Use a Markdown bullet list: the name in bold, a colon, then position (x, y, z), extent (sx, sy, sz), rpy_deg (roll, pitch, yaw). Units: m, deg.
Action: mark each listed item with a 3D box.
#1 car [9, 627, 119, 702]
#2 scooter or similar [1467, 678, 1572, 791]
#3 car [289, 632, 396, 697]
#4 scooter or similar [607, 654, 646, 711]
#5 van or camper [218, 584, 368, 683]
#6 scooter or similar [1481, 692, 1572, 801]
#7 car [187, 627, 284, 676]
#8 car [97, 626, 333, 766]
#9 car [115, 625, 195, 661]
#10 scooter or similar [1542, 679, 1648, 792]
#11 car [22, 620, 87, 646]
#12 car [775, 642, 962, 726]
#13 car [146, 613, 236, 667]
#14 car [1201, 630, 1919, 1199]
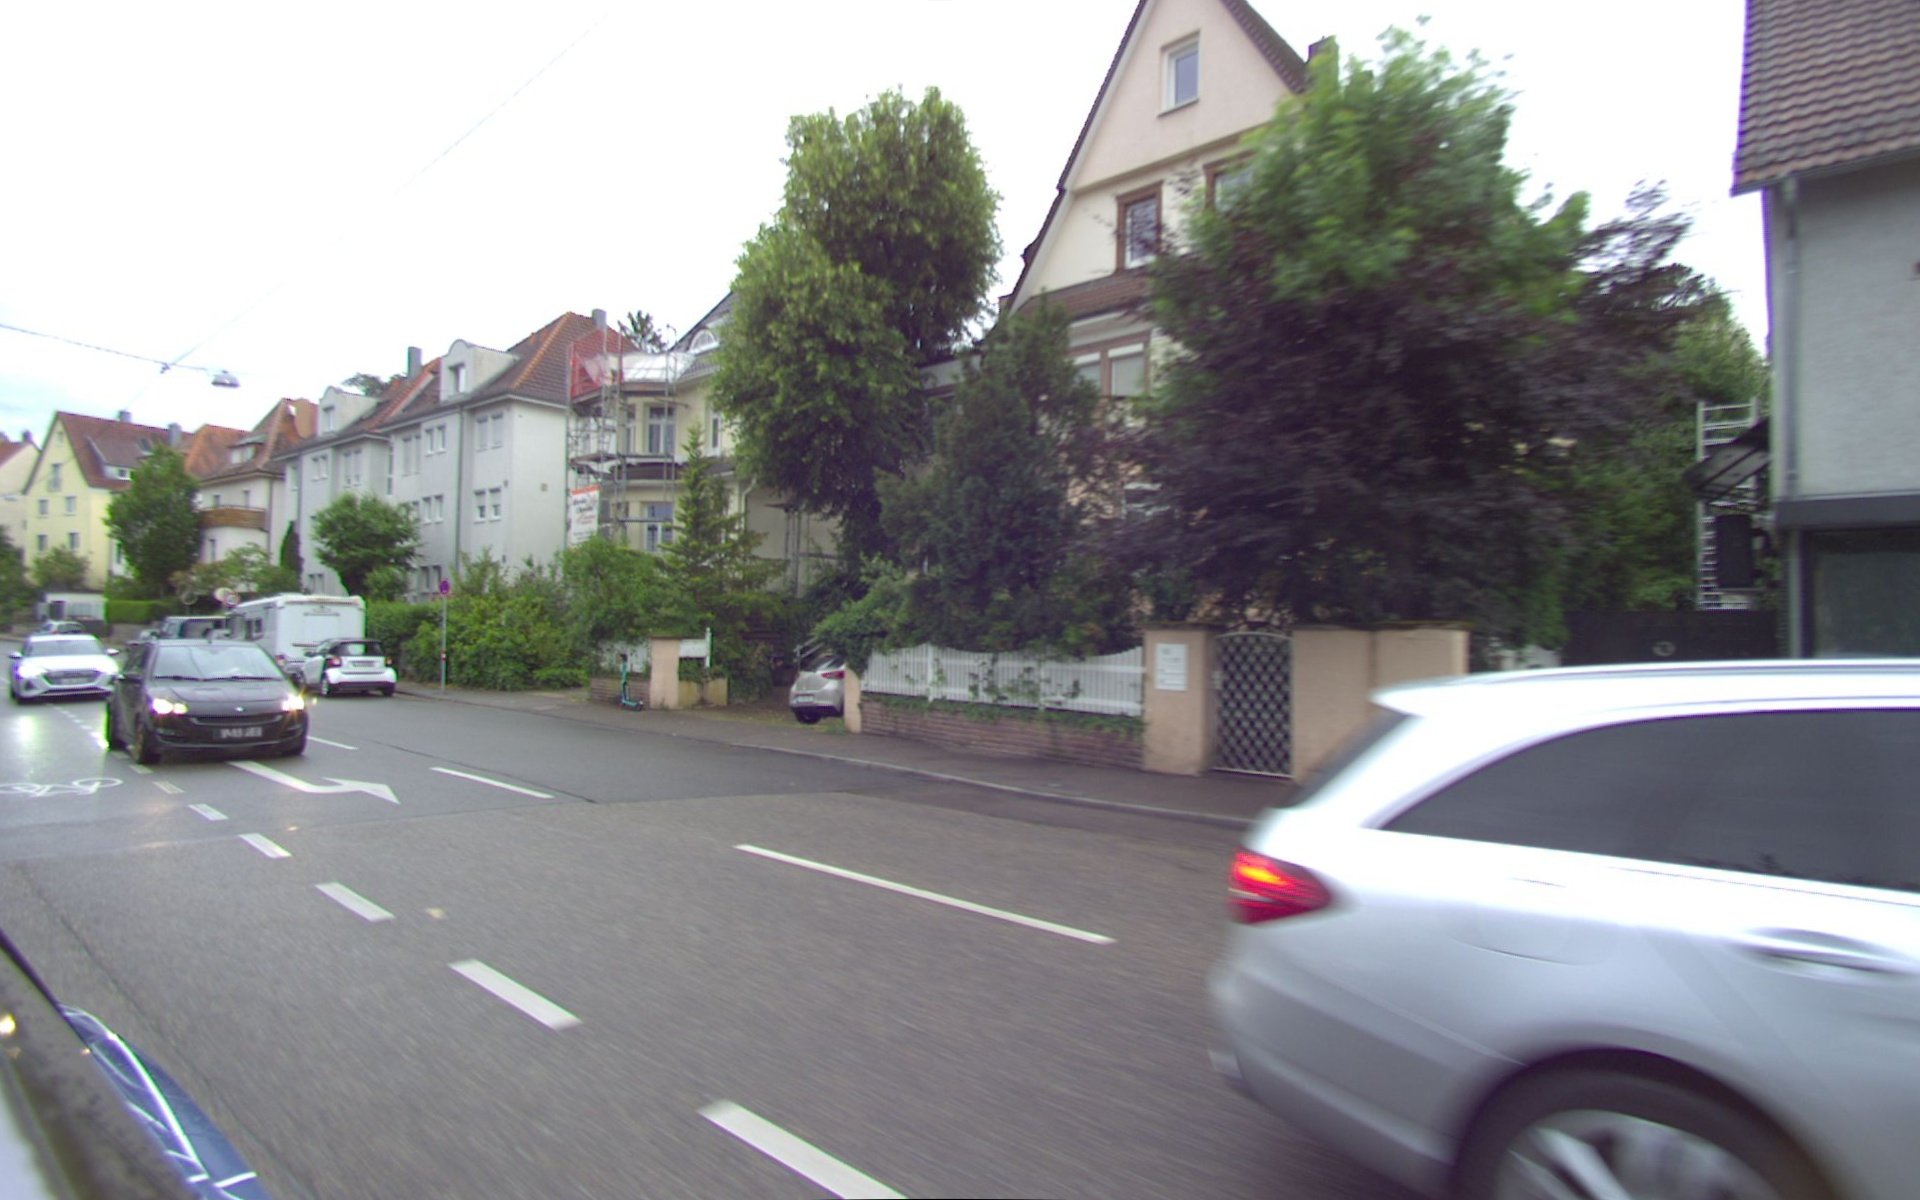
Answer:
- **car**: position (-22.654, 1.558, 25.554), extent (3.892, 1.712, 1.771), rpy_deg (-1, -1, 44)
- **scooter or similar**: position (5.879, 1.386, 10.648), extent (0.599, 1.070, 0.765), rpy_deg (1, -1, -32)
- **car**: position (-16.710, 1.690, 27.338), extent (3.317, 1.607, 1.577), rpy_deg (-1, -3, 43)
- **scooter or similar**: position (-7.362, 1.802, 22.330), extent (0.396, 1.197, 1.142), rpy_deg (1, -2, -41)
- **van or camper**: position (-20.550, 1.006, 31.058), extent (6.115, 2.746, 2.323), rpy_deg (-1, -2, 42)
- **scooter or similar**: position (5.603, 1.427, 10.018), extent (0.535, 0.973, 0.594), rpy_deg (1, -1, -32)
- **car**: position (-25.687, 1.775, 35.809), extent (4.746, 1.607, 1.812), rpy_deg (-1, -3, 43)
- **car**: position (-9.566, 1.091, 12.893), extent (3.683, 1.475, 1.872), rpy_deg (-1, -2, 45)
- **car**: position (-35.071, 1.843, 44.061), extent (4.504, 1.383, 1.659), rpy_deg (0, -1, 37)
- **scooter or similar**: position (6.733, 1.412, 10.748), extent (0.599, 1.070, 0.765), rpy_deg (1, -1, -32)
- **car**: position (-48.879, 1.758, 54.609), extent (3.427, 1.383, 1.663), rpy_deg (-1, -1, 31)
- **car**: position (-1.810, 1.721, 20.723), extent (3.539, 1.553, 1.710), rpy_deg (5, -7, -45)
- **car**: position (-30.553, 1.533, 40.182), extent (4.576, 2.003, 1.814), rpy_deg (-1, -1, 39)
- **car**: position (2.946, 0.796, 1.822), extent (4.480, 1.491, 1.974), rpy_deg (-3, -4, 38)
